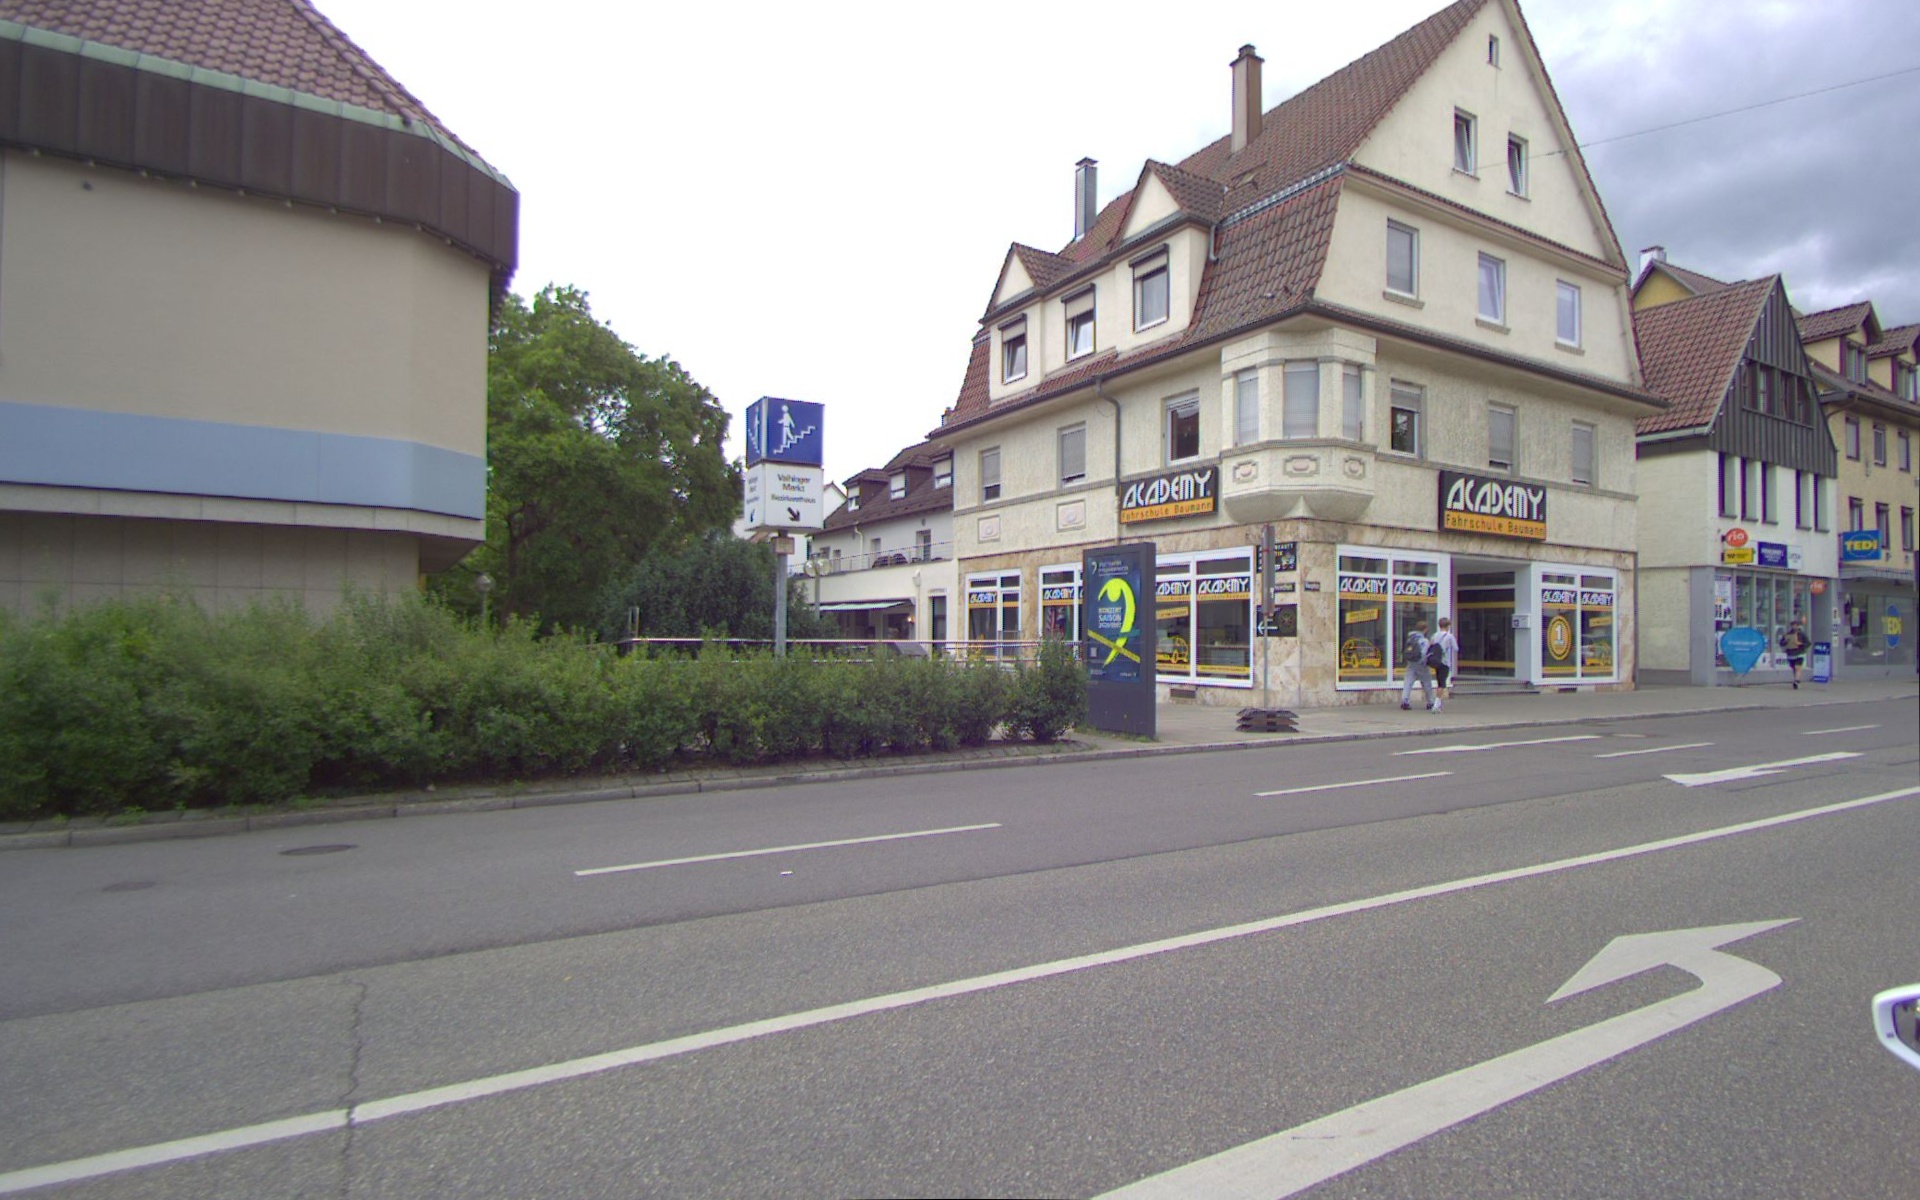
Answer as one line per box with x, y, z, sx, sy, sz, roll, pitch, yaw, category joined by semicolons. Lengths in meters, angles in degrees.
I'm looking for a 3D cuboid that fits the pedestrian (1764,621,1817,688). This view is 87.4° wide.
22.615;1.465;27.355;0.798;1.770;0.861;0;2;-35;pedestrian

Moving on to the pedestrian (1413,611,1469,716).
8.671;1.132;18.110;0.673;1.848;0.630;1;-2;-31;pedestrian

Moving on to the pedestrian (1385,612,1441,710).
8.475;1.131;18.814;0.673;1.784;0.684;1;-2;-31;pedestrian
